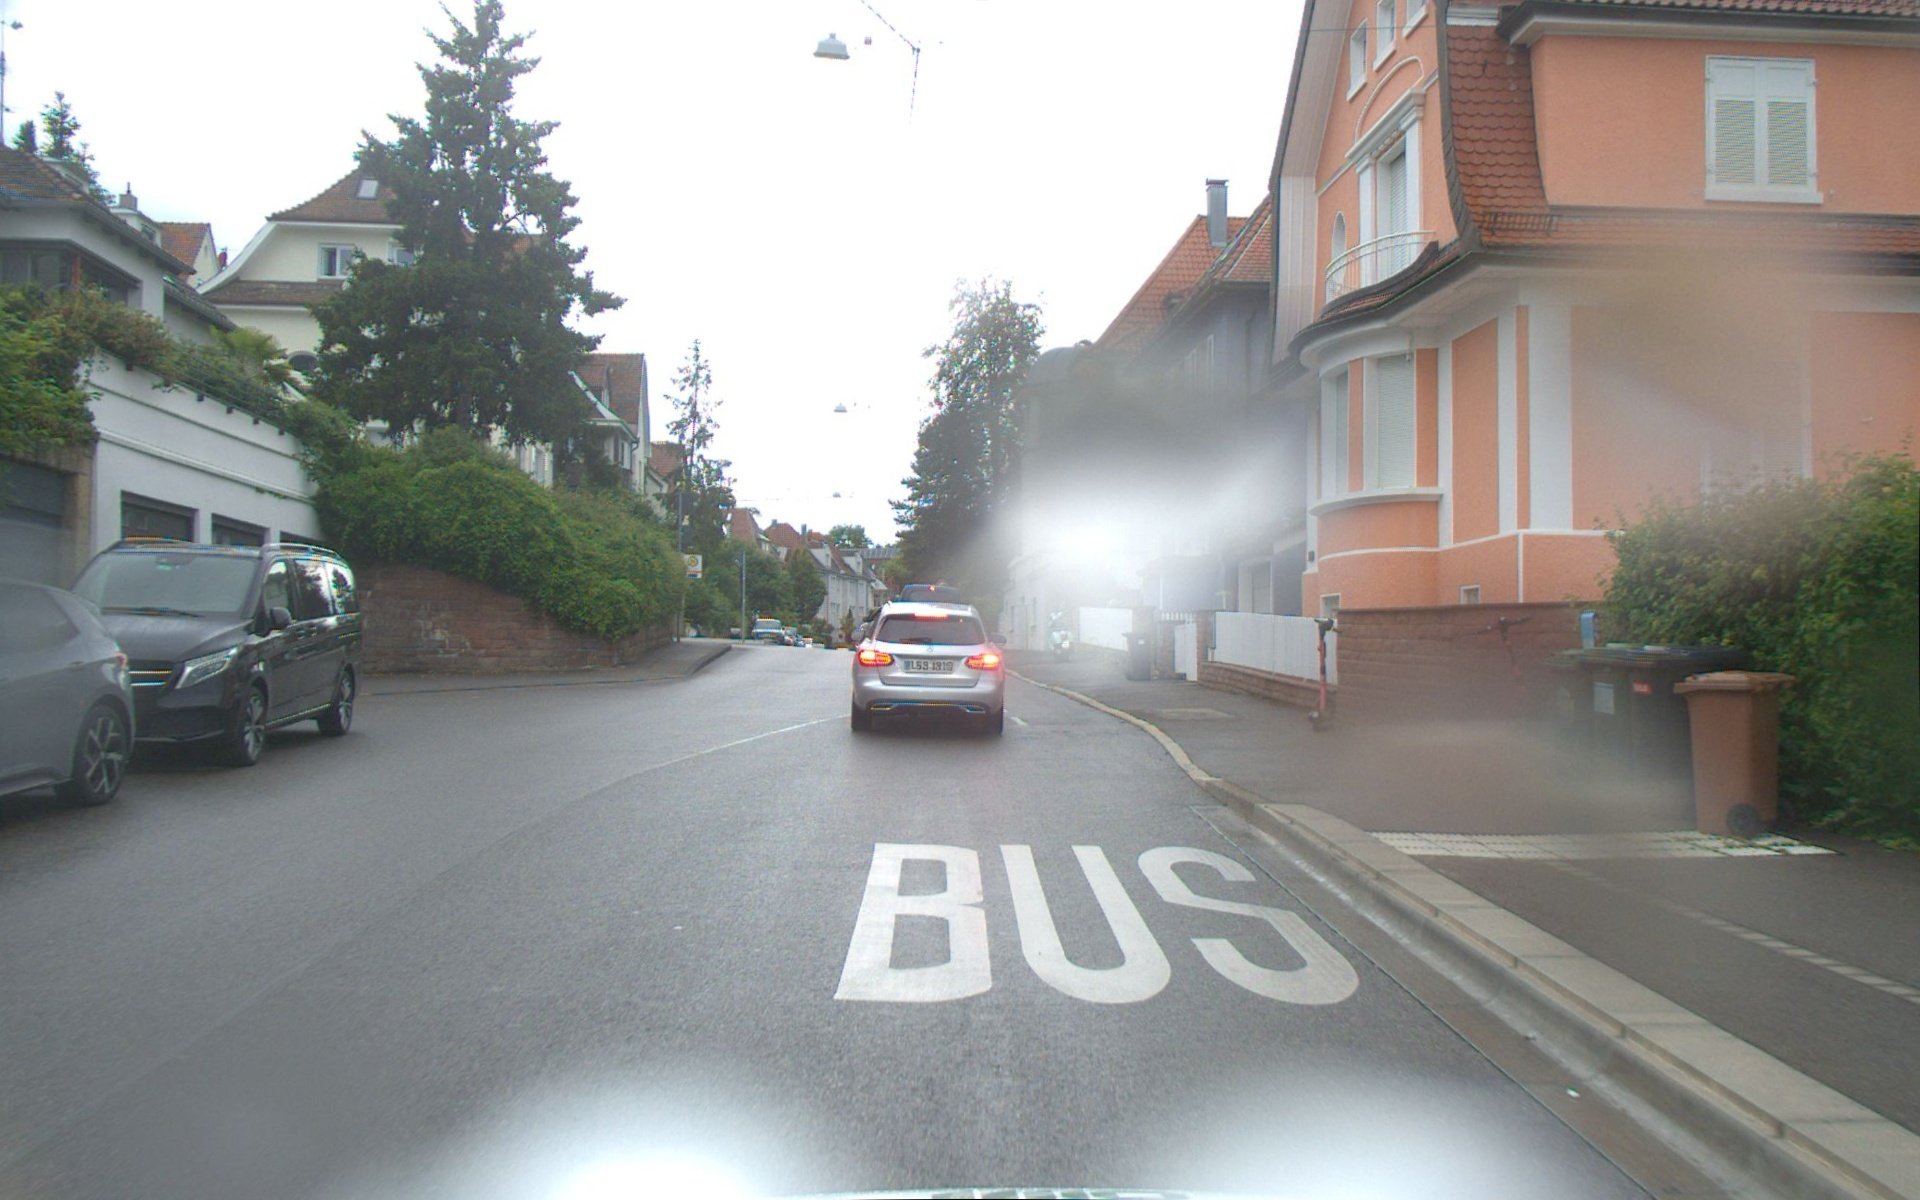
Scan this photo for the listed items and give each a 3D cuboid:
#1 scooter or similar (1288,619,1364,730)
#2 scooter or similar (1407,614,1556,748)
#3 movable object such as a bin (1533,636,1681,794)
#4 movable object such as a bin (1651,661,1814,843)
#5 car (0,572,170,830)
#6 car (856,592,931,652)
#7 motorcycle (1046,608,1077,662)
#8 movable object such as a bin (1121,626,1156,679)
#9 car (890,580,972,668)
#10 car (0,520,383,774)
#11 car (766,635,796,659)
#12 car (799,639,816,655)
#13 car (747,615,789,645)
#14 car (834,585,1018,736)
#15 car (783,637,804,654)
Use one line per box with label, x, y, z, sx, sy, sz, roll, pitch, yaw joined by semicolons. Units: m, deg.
scooter or similar;4.335;0.863;19.657;0.678;1.245;1.300;1;0;4
scooter or similar;5.033;0.774;15.957;1.234;1.245;0.694;-2;-2;29
movable object such as a bin;4.564;0.794;11.708;0.697;1.048;0.756;-1;0;-5
movable object such as a bin;4.549;0.876;9.754;0.565;0.986;0.661;3;0;-36
car;-6.660;0.576;9.854;1.860;1.541;4.341;2;0;-2
car;-1.826;0.576;45.776;1.953;1.566;4.331;0;0;-2
motorcycle;2.510;0.861;41.084;0.570;1.284;2.331;-1;0;-1
movable object such as a bin;3.380;0.994;31.406;0.538;0.952;0.633;-2;0;-4
car;-0.664;0.513;38.238;1.787;1.915;4.094;0;0;-1
car;-7.086;0.360;15.354;2.089;1.892;5.585;2;0;-7
car;-11.193;2.908;103.578;1.723;1.337;3.680;2;0;-5
car;-13.343;4.119;145.072;1.400;1.337;3.403;0;0;-5
car;-10.318;1.599;89.195;2.075;1.497;4.013;1;0;-5
car;-0.444;0.657;20.042;1.943;1.581;4.296;2;0;-2
car;-13.646;3.714;135.336;1.604;1.337;3.472;1;0;-5
